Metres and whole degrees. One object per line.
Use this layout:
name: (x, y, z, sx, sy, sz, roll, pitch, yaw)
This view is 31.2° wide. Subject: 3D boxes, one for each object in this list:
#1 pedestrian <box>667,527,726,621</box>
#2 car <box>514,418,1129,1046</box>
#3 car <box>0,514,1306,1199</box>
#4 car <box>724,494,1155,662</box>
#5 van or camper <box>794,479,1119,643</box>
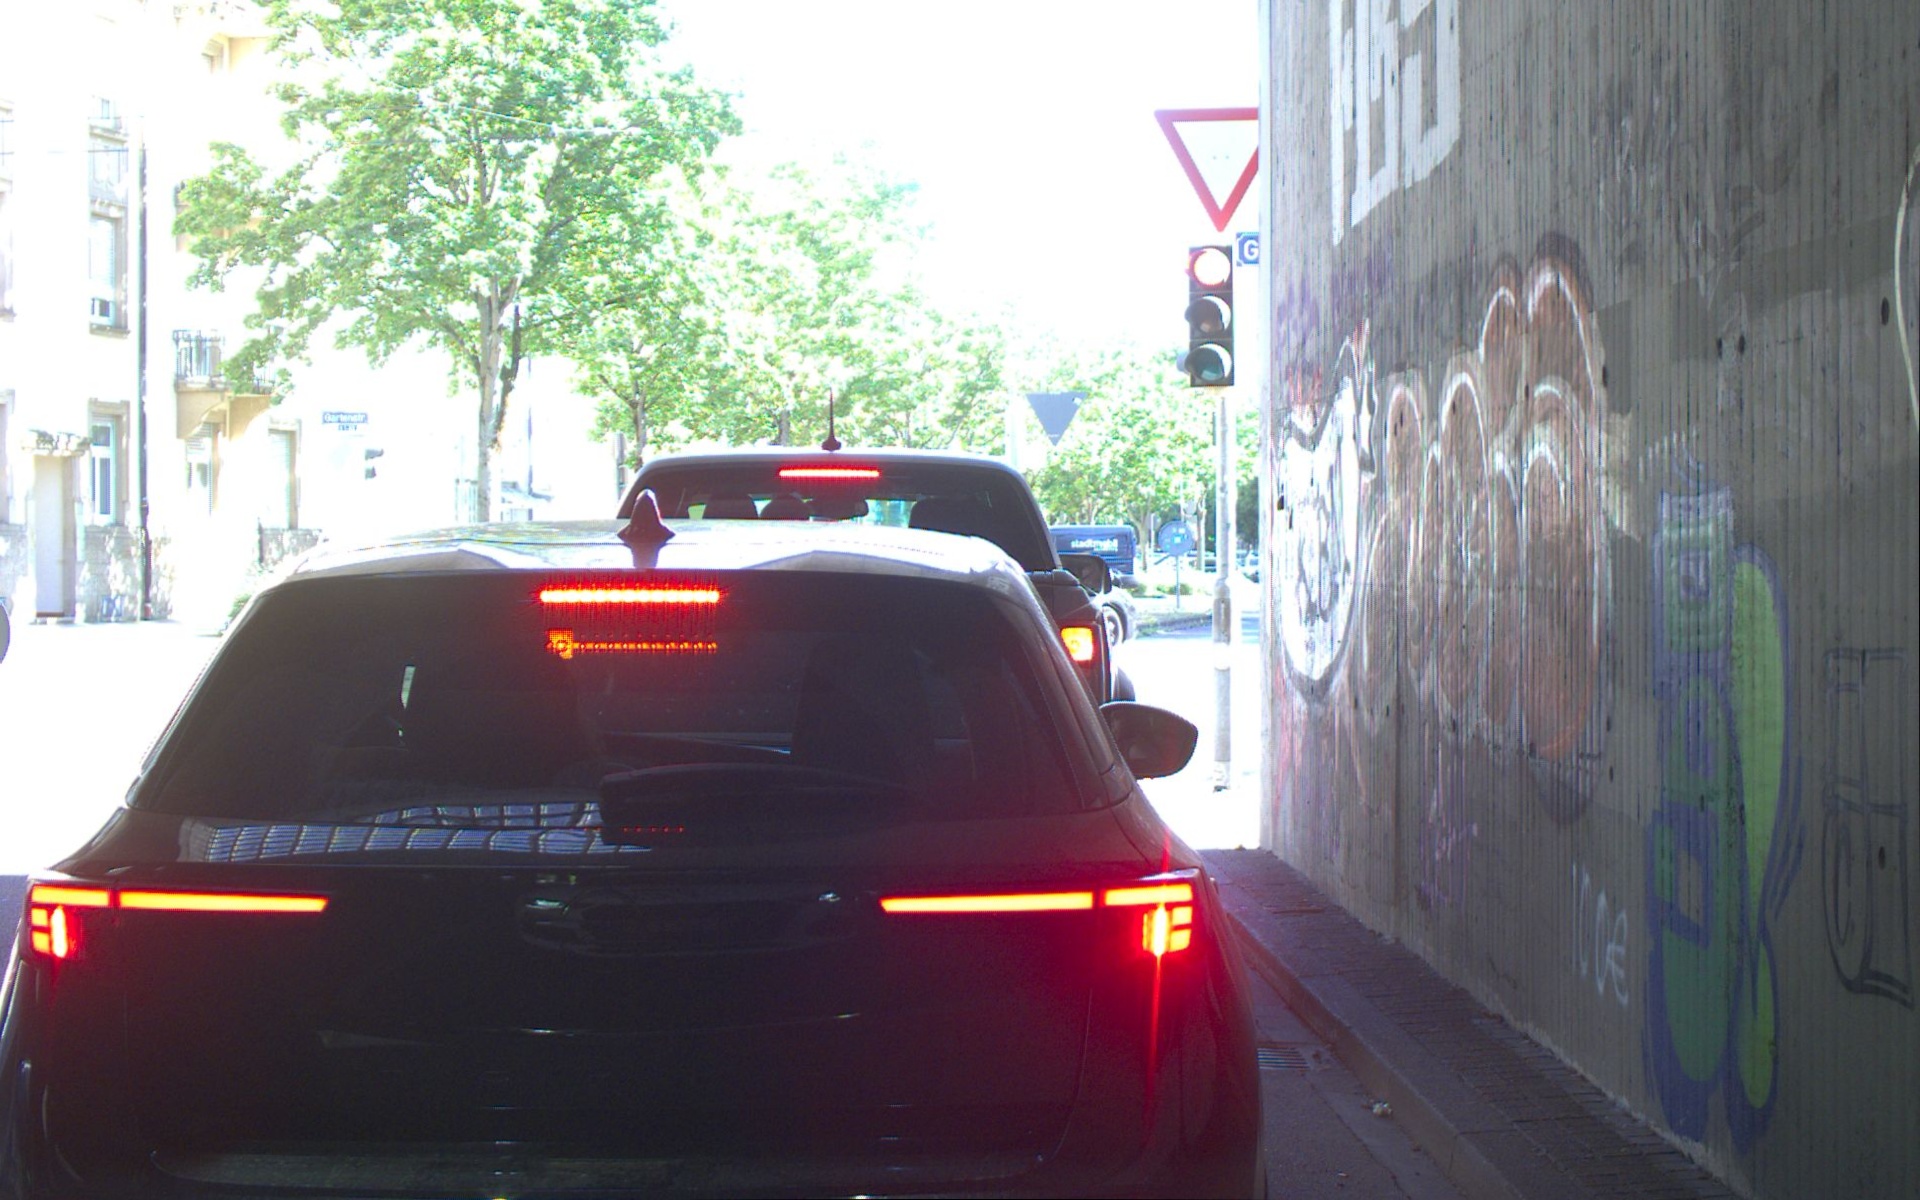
pedestrian: (-4.537, -0.448, 59.191, 0.736, 1.579, 0.889, 1, 0, 15)
car: (-0.424, 0.351, 12.085, 1.786, 1.827, 3.961, 1, 1, 0)
car: (-0.478, 0.614, 6.177, 1.753, 1.493, 4.000, 1, 1, 0)
car: (-0.159, -0.290, 37.179, 1.999, 1.635, 4.581, 1, 3, 44)
van or camper: (-0.007, -0.493, 43.424, 3.878, 2.007, 2.000, 0, 1, 7)
